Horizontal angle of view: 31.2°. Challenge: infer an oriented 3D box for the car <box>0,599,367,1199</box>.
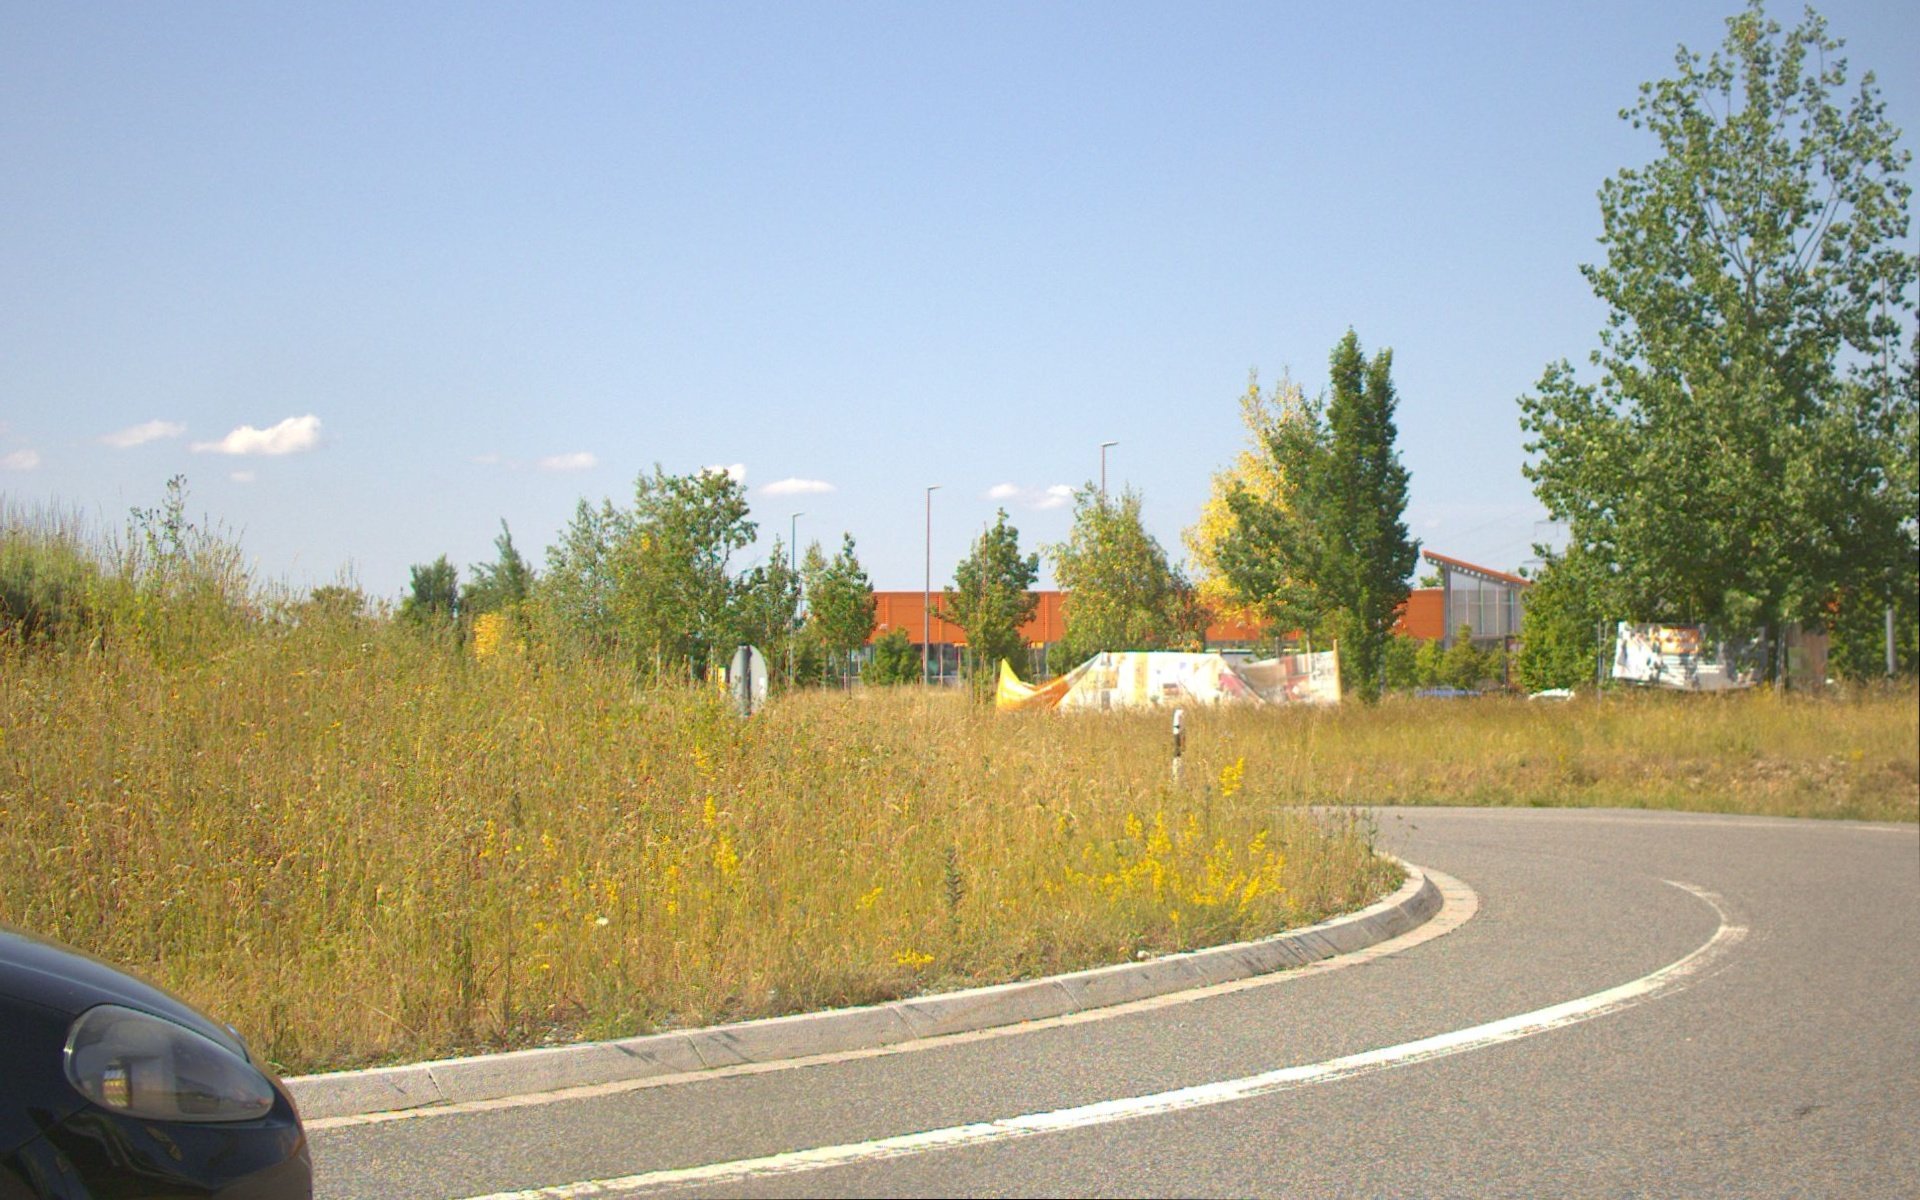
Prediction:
[{"bbox_3d":[-3.049,0.752,5.350,3.891,1.482,1.645,0,0,-25],"label":"car"}]
